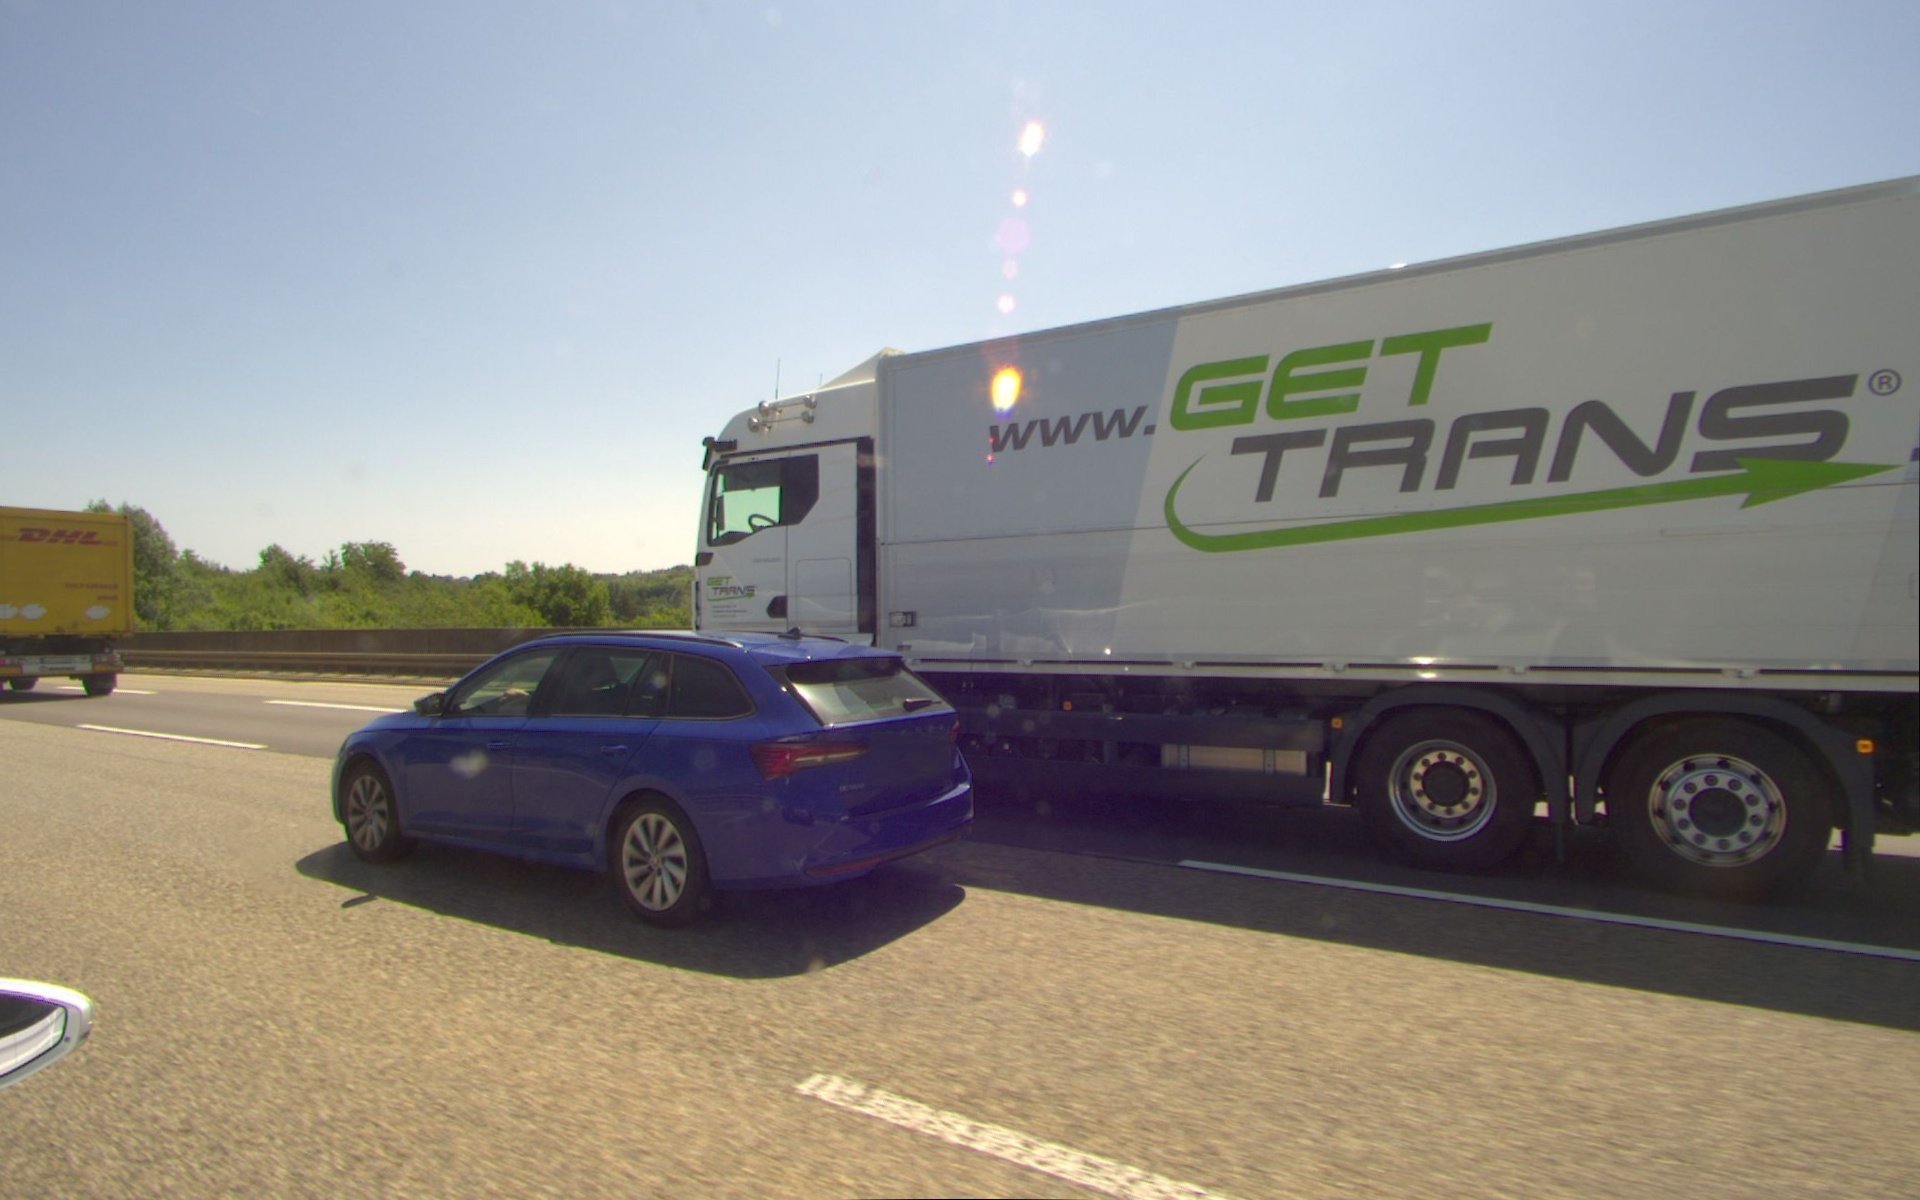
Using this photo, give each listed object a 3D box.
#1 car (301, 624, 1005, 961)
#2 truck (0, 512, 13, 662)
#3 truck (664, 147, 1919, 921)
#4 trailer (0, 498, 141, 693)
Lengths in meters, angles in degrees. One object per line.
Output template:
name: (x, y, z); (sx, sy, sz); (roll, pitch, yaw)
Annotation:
car: (-2.066, 0.890, 6.252); (4.435, 1.459, 1.707); (-1, -1, 31)
truck: (-31.148, -0.269, 29.228); (10.190, 4.106, 2.717); (-2, -2, 33)
truck: (2.508, -0.200, 7.648); (10.614, 3.648, 2.846); (-1, -2, 32)
trailer: (-23.131, 0.048, 24.090); (8.804, 4.074, 2.697); (-2, -2, 32)
